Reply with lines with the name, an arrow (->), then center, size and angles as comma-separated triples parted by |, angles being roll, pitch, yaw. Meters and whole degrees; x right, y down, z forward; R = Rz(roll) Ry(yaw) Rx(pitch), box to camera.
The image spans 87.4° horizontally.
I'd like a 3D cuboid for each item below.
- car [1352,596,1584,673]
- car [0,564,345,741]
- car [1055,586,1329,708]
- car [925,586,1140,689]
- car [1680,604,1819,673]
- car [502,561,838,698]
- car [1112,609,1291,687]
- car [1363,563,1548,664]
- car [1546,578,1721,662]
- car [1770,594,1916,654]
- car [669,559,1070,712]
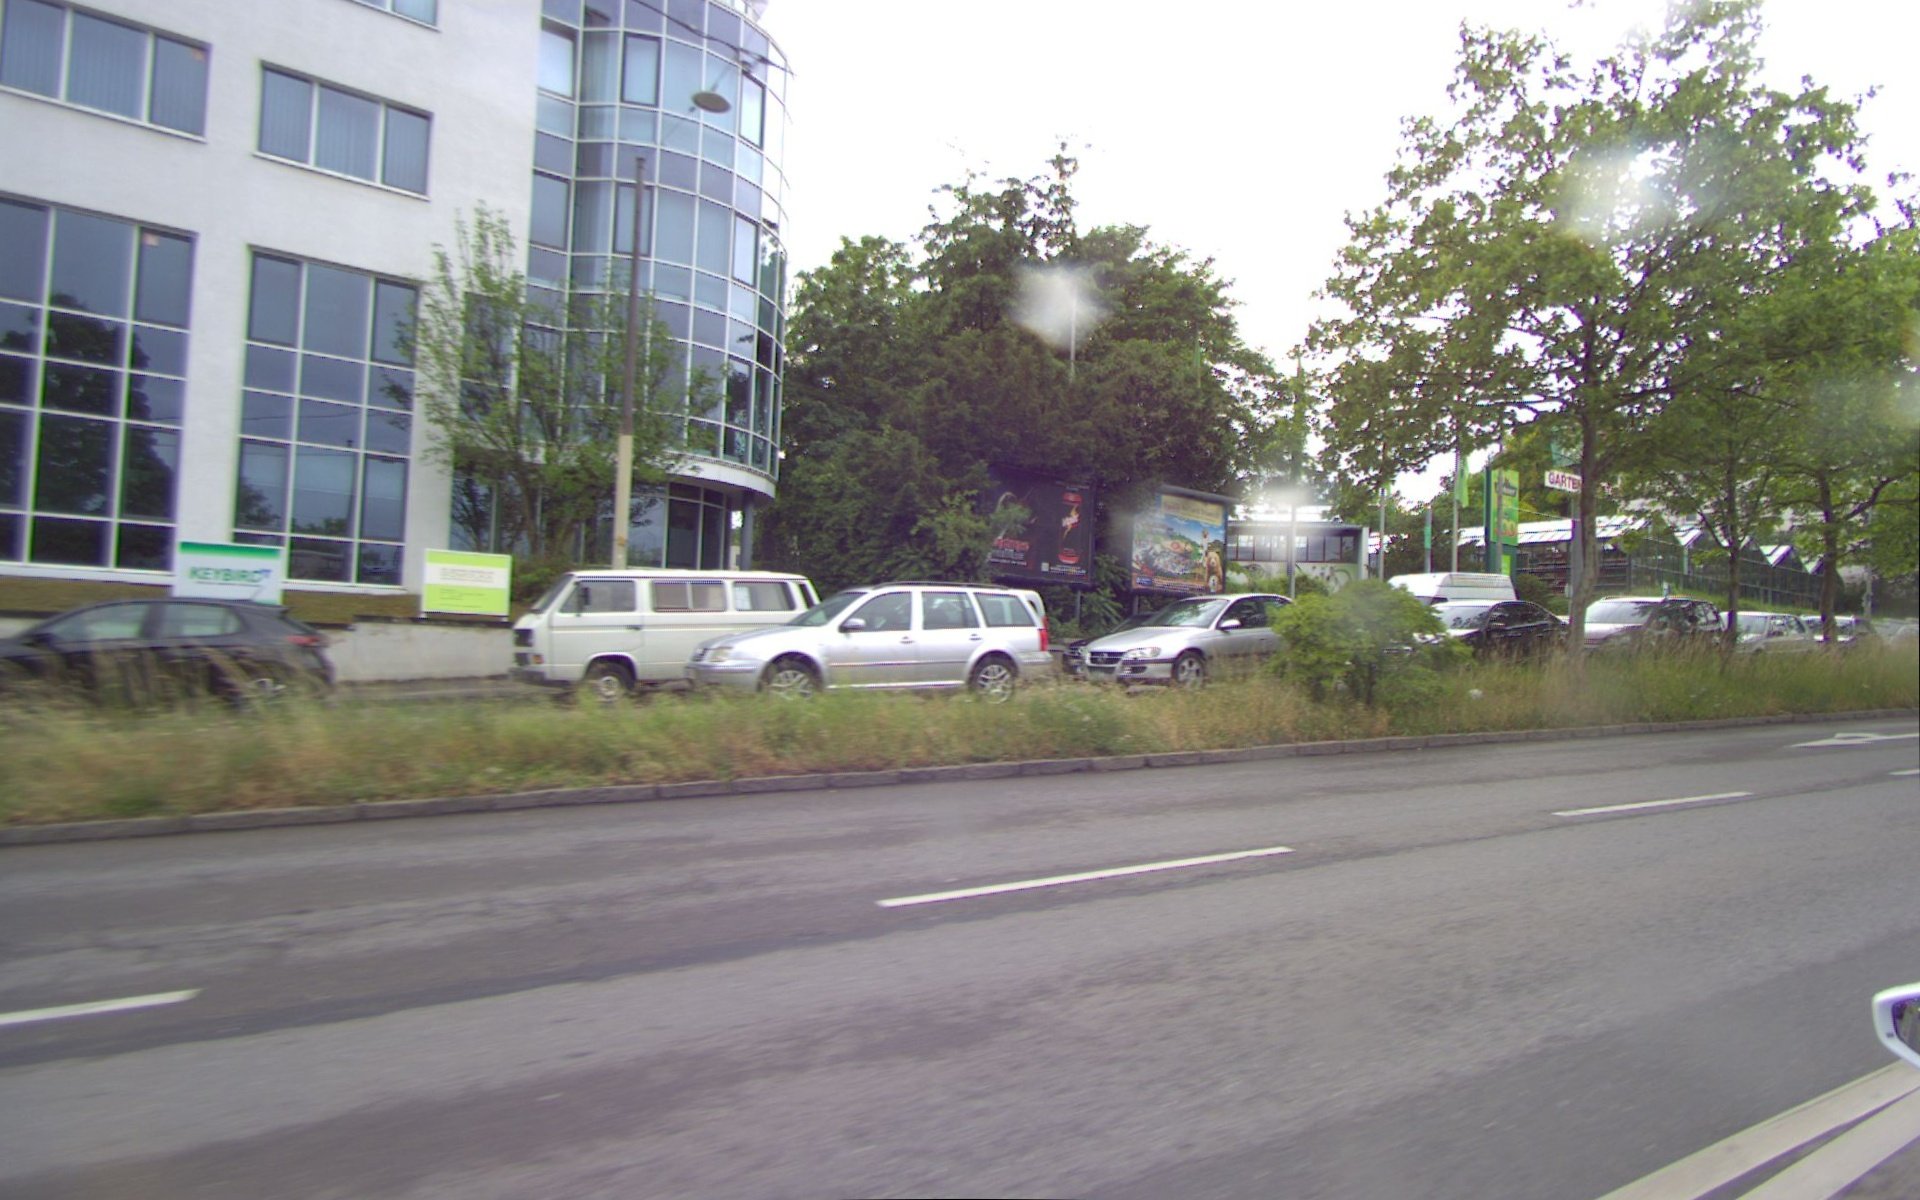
car -> 9.035, 0.615, 17.780 | 4.169, 1.221, 1.690 | 1, -2, -30
car -> -9.107, 0.545, 11.087 | 3.949, 1.744, 1.602 | 0, -2, -32
car -> 3.442, 0.641, 14.668 | 3.947, 1.560, 1.583 | 0, -2, -32
car -> 1.365, 0.666, 18.410 | 3.739, 1.718, 1.583 | 0, -2, -32
car -> 18.158, 0.910, 23.065 | 3.667, 1.413, 1.353 | 4, -3, -32
car -> -4.252, 0.420, 14.975 | 4.532, 1.769, 1.761 | 0, -2, -32
car -> 5.159, 1.040, 21.344 | 3.643, 1.475, 1.621 | 4, -3, -32
car -> 13.407, 0.392, 27.039 | 5.598, 2.475, 1.951 | 1, -2, -35
car -> 13.795, 0.454, 20.529 | 3.605, 1.471, 1.645 | 4, -3, -32
car -> 23.045, 0.661, 26.187 | 4.492, 1.309, 1.530 | 4, -3, -30
car -> -0.971, 0.388, 11.682 | 4.392, 1.497, 1.639 | 0, -2, -31
